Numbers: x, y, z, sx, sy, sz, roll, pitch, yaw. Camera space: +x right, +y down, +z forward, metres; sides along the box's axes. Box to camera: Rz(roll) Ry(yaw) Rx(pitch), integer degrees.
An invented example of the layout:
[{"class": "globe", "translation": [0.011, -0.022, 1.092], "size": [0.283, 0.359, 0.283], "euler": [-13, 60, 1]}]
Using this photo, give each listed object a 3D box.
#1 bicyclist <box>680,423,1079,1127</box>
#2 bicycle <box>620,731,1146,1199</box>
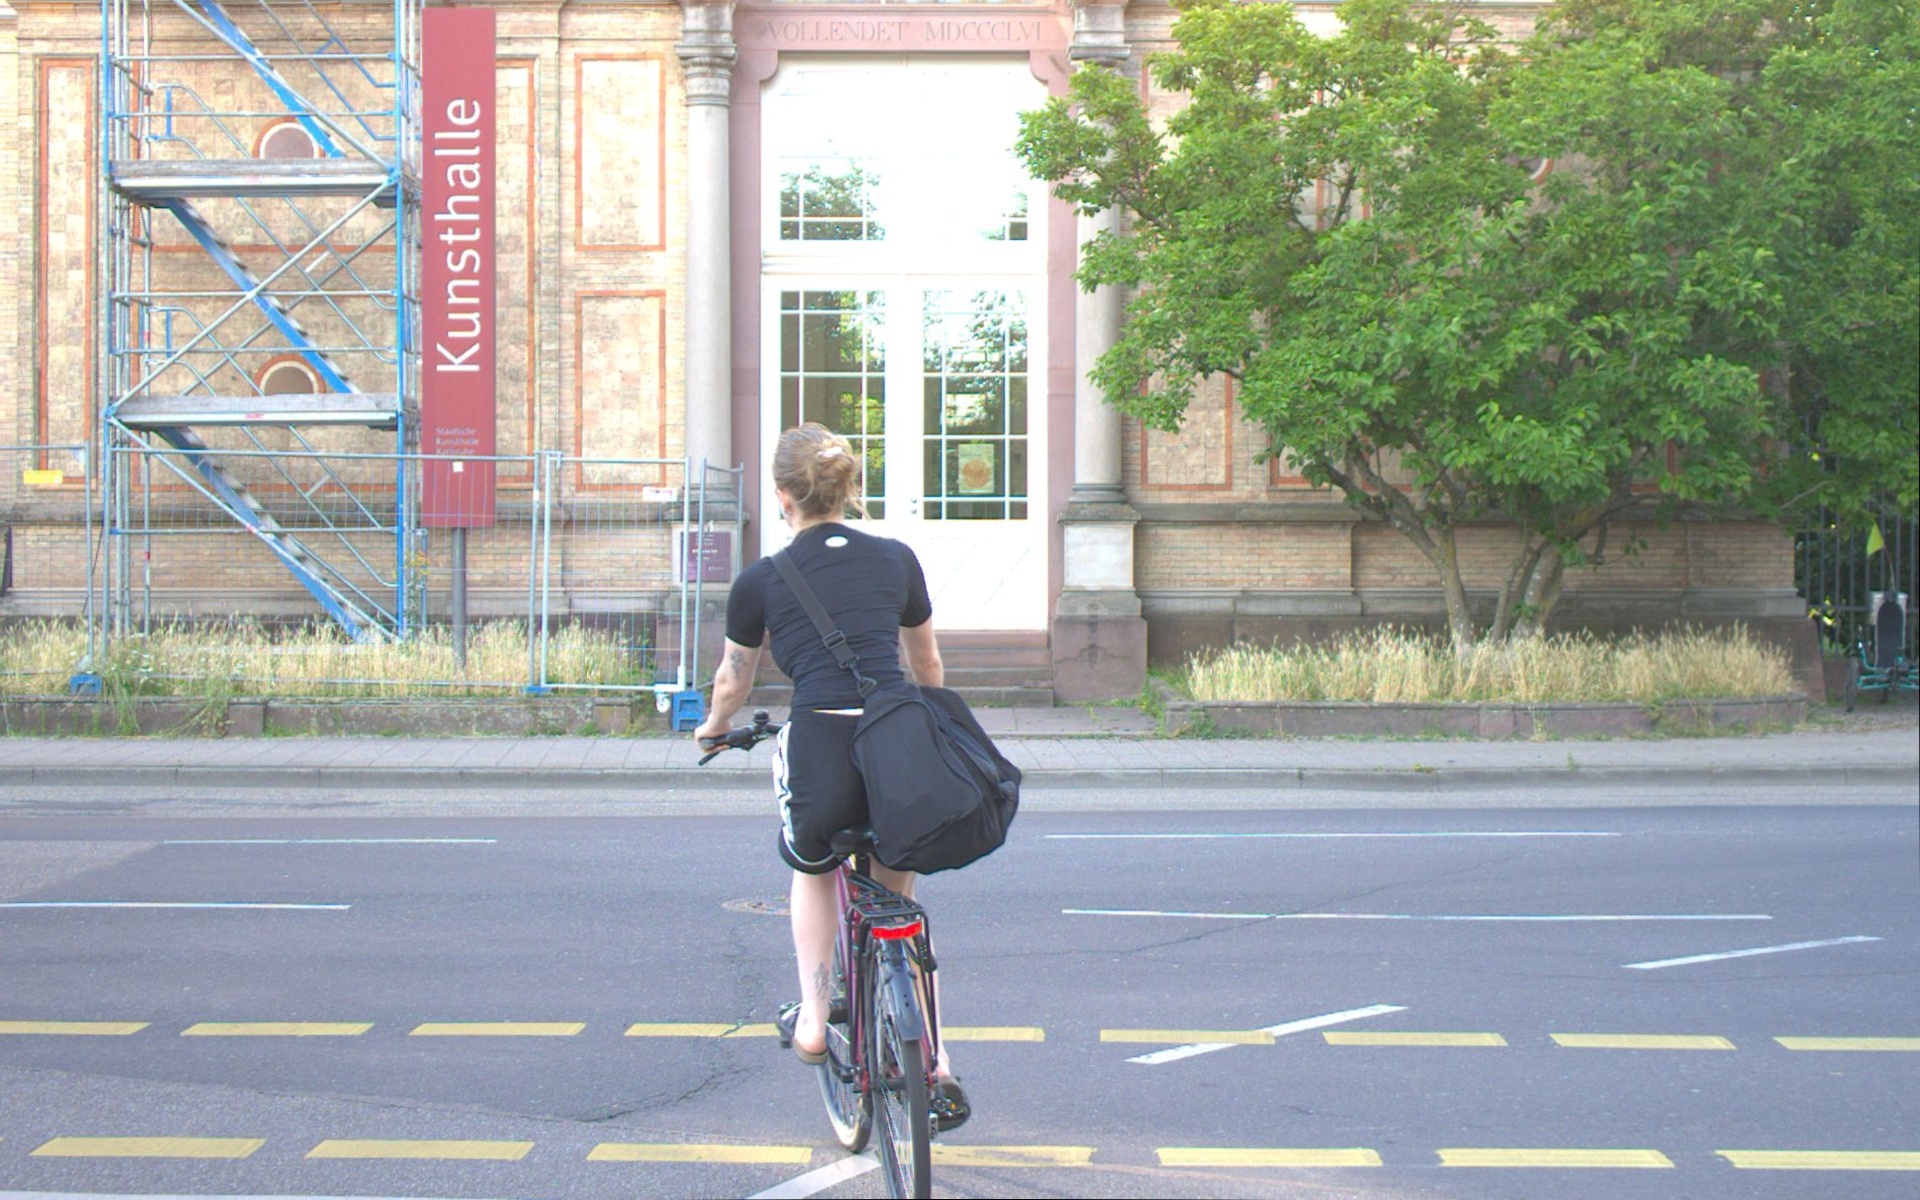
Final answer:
[{"class": "bicyclist", "translation": [-0.200, 0.378, 7.815], "size": [0.716, 1.497, 0.851], "euler": [0, -1, -16]}, {"class": "bicycle", "translation": [-0.245, 0.905, 7.939], "size": [0.711, 1.152, 2.069], "euler": [0, -1, -16]}]
